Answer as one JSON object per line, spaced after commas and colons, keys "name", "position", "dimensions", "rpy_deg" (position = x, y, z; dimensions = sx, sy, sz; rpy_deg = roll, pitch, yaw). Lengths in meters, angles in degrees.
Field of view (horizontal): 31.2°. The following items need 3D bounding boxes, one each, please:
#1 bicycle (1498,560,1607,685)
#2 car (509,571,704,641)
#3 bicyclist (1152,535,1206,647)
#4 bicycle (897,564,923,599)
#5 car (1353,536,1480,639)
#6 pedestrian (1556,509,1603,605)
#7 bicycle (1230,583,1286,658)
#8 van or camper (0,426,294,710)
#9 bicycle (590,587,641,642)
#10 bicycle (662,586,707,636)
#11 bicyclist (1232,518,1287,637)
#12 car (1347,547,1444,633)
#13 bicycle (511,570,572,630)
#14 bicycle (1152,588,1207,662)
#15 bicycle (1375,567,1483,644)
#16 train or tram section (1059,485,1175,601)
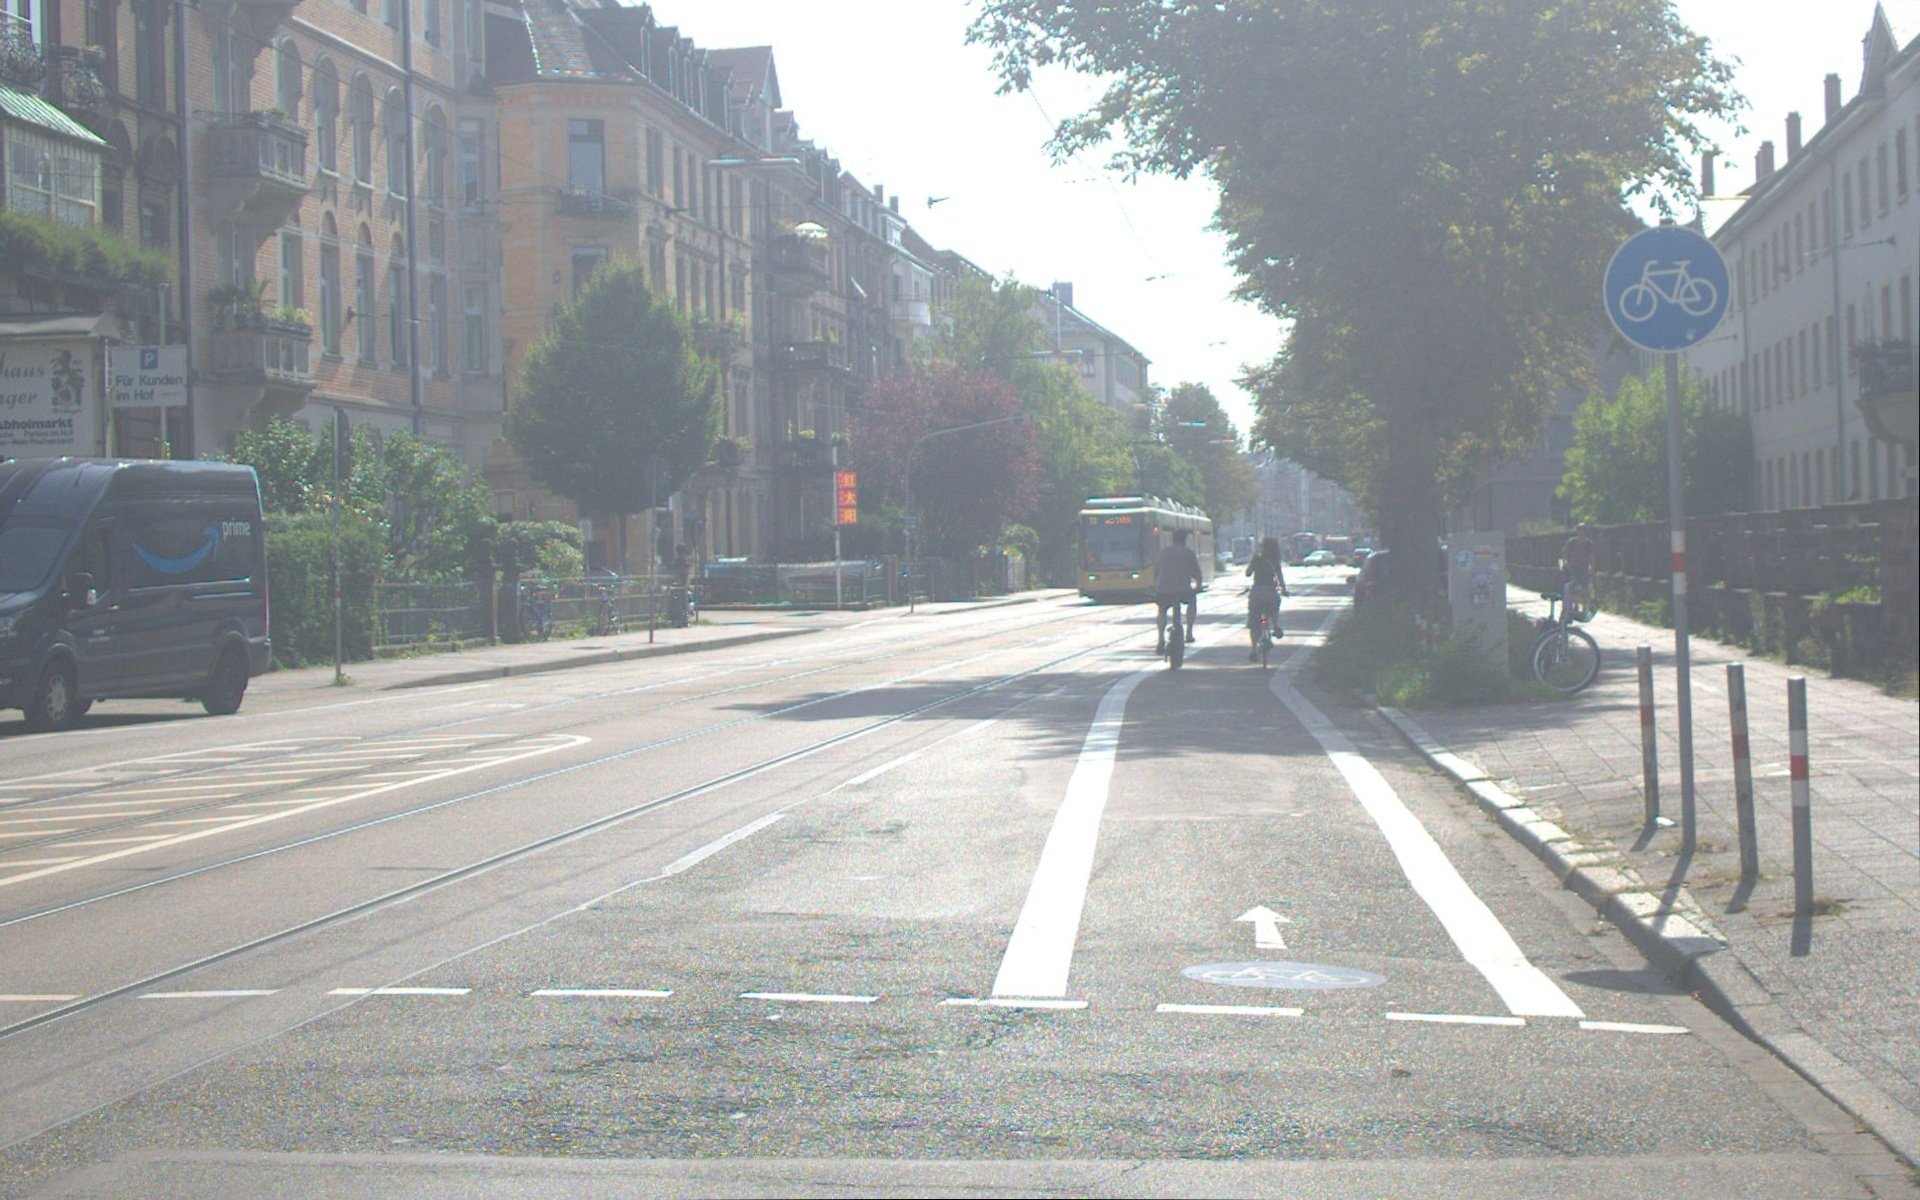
{"name": "bicycle", "position": [5.548, 0.192, 32.285], "dimensions": [0.772, 1.100, 2.333], "rpy_deg": [-2, 1, 5]}
{"name": "car", "position": [-8.164, 0.148, 79.569], "dimensions": [4.138, 1.538, 2.064], "rpy_deg": [-1, 0, 6]}
{"name": "bicyclist", "position": [2.767, -0.122, 43.393], "dimensions": [0.626, 1.396, 0.929], "rpy_deg": [0, 0, 6]}
{"name": "bicycle", "position": [-1.606, -0.591, 110.625], "dimensions": [0.508, 1.104, 2.003], "rpy_deg": [-2, 0, 7]}
{"name": "car", "position": [7.464, -0.221, 55.963], "dimensions": [1.646, 1.535, 3.840], "rpy_deg": [-3, 0, 12]}
{"name": "pedestrian", "position": [11.487, -0.802, 63.741], "dimensions": [0.753, 1.743, 0.878], "rpy_deg": [-1, 0, 14]}
{"name": "bicycle", "position": [3.734, 0.247, 42.925], "dimensions": [0.654, 0.906, 1.774], "rpy_deg": [0, 0, 6]}
{"name": "van or camper", "position": [-9.107, -0.286, 35.146], "dimensions": [2.051, 2.635, 6.086], "rpy_deg": [-2, 0, 14]}
{"name": "bicycle", "position": [-6.895, 0.277, 68.838], "dimensions": [0.545, 1.054, 1.839], "rpy_deg": [2, 1, 9]}
{"name": "bicycle", "position": [-6.062, 0.238, 75.813], "dimensions": [0.545, 1.054, 1.839], "rpy_deg": [2, 1, 9]}
{"name": "bicyclist", "position": [3.742, -0.283, 42.905], "dimensions": [0.654, 1.469, 0.908], "rpy_deg": [0, 0, 6]}
{"name": "car", "position": [8.092, -0.198, 63.862], "dimensions": [1.646, 1.443, 4.245], "rpy_deg": [-3, 0, 7]}
{"name": "bicycle", "position": [-7.653, -0.008, 62.953], "dimensions": [0.607, 1.054, 1.839], "rpy_deg": [2, 1, 9]}
{"name": "bicycle", "position": [2.776, 0.305, 43.385], "dimensions": [0.626, 0.906, 1.525], "rpy_deg": [0, 0, 6]}
{"name": "bicycle", "position": [6.772, 0.071, 49.610], "dimensions": [1.723, 1.069, 0.525], "rpy_deg": [-2, 1, -41]}
{"name": "train or tram section", "position": [5.317, -1.850, 113.753], "dimensions": [2.735, 3.493, 15.429], "rpy_deg": [-1, 1, 6]}
